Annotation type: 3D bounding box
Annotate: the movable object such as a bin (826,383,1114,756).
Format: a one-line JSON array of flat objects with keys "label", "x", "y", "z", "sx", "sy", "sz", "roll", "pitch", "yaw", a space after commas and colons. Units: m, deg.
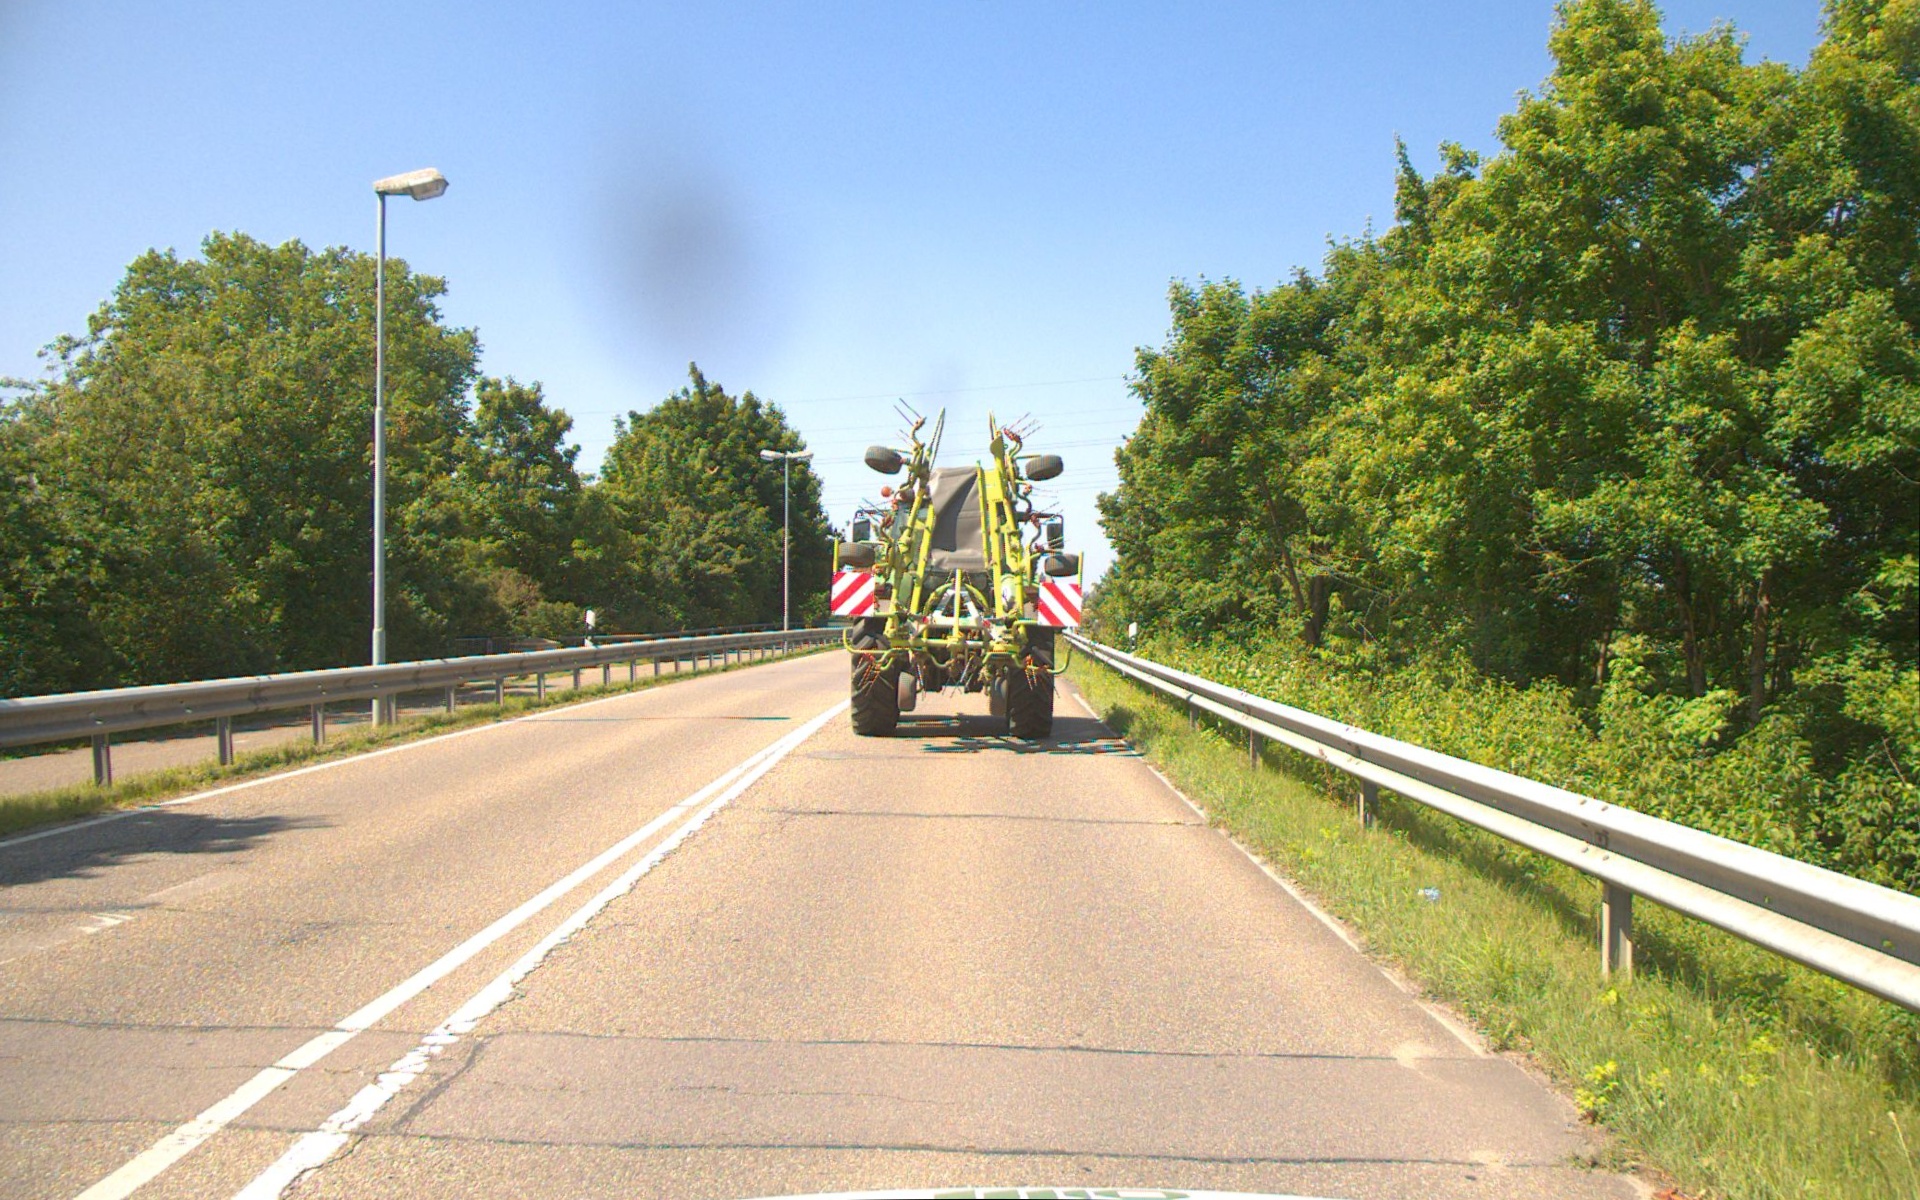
[{"label": "movable object such as a bin", "x": 0.000, "y": -0.300, "z": 18.522, "sx": 2.700, "sy": 3.504, "sz": 5.667, "roll": 1, "pitch": 0, "yaw": -2}]
